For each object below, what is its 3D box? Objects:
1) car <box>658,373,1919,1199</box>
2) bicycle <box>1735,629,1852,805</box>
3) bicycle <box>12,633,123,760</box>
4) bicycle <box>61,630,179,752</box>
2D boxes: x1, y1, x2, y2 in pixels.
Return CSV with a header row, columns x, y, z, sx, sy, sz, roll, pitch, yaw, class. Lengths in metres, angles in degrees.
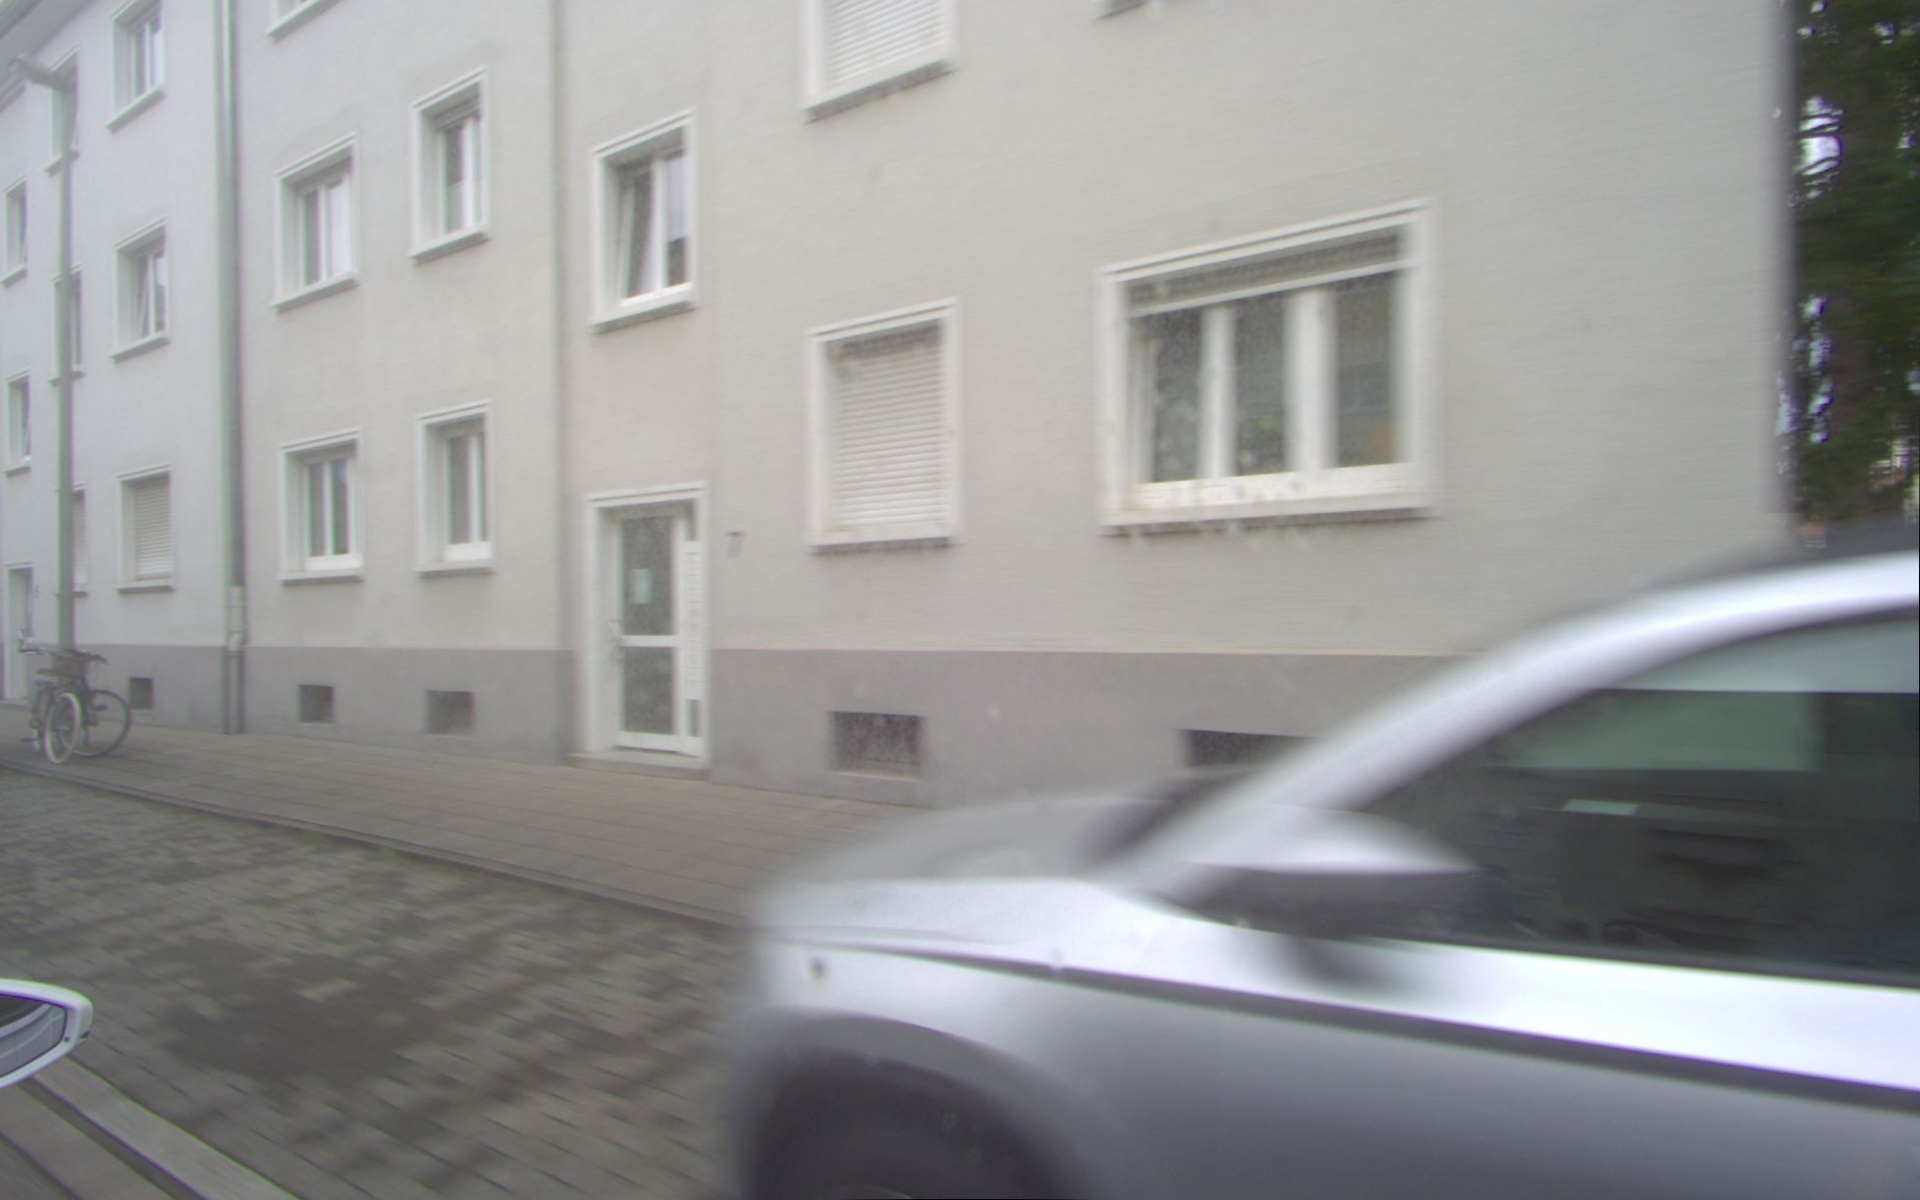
x,y,z,sx,sy,sz,roll,pitch,yaw,class
1.638,0.626,1.450,4.034,1.664,1.816,-1,0,33,car
5.796,0.757,7.014,0.491,1.076,1.444,0,0,34,bicycle
-9.462,0.969,10.595,2.011,1.191,0.528,-1,1,39,bicycle
-9.203,0.942,10.941,2.011,1.191,0.573,-1,1,39,bicycle
